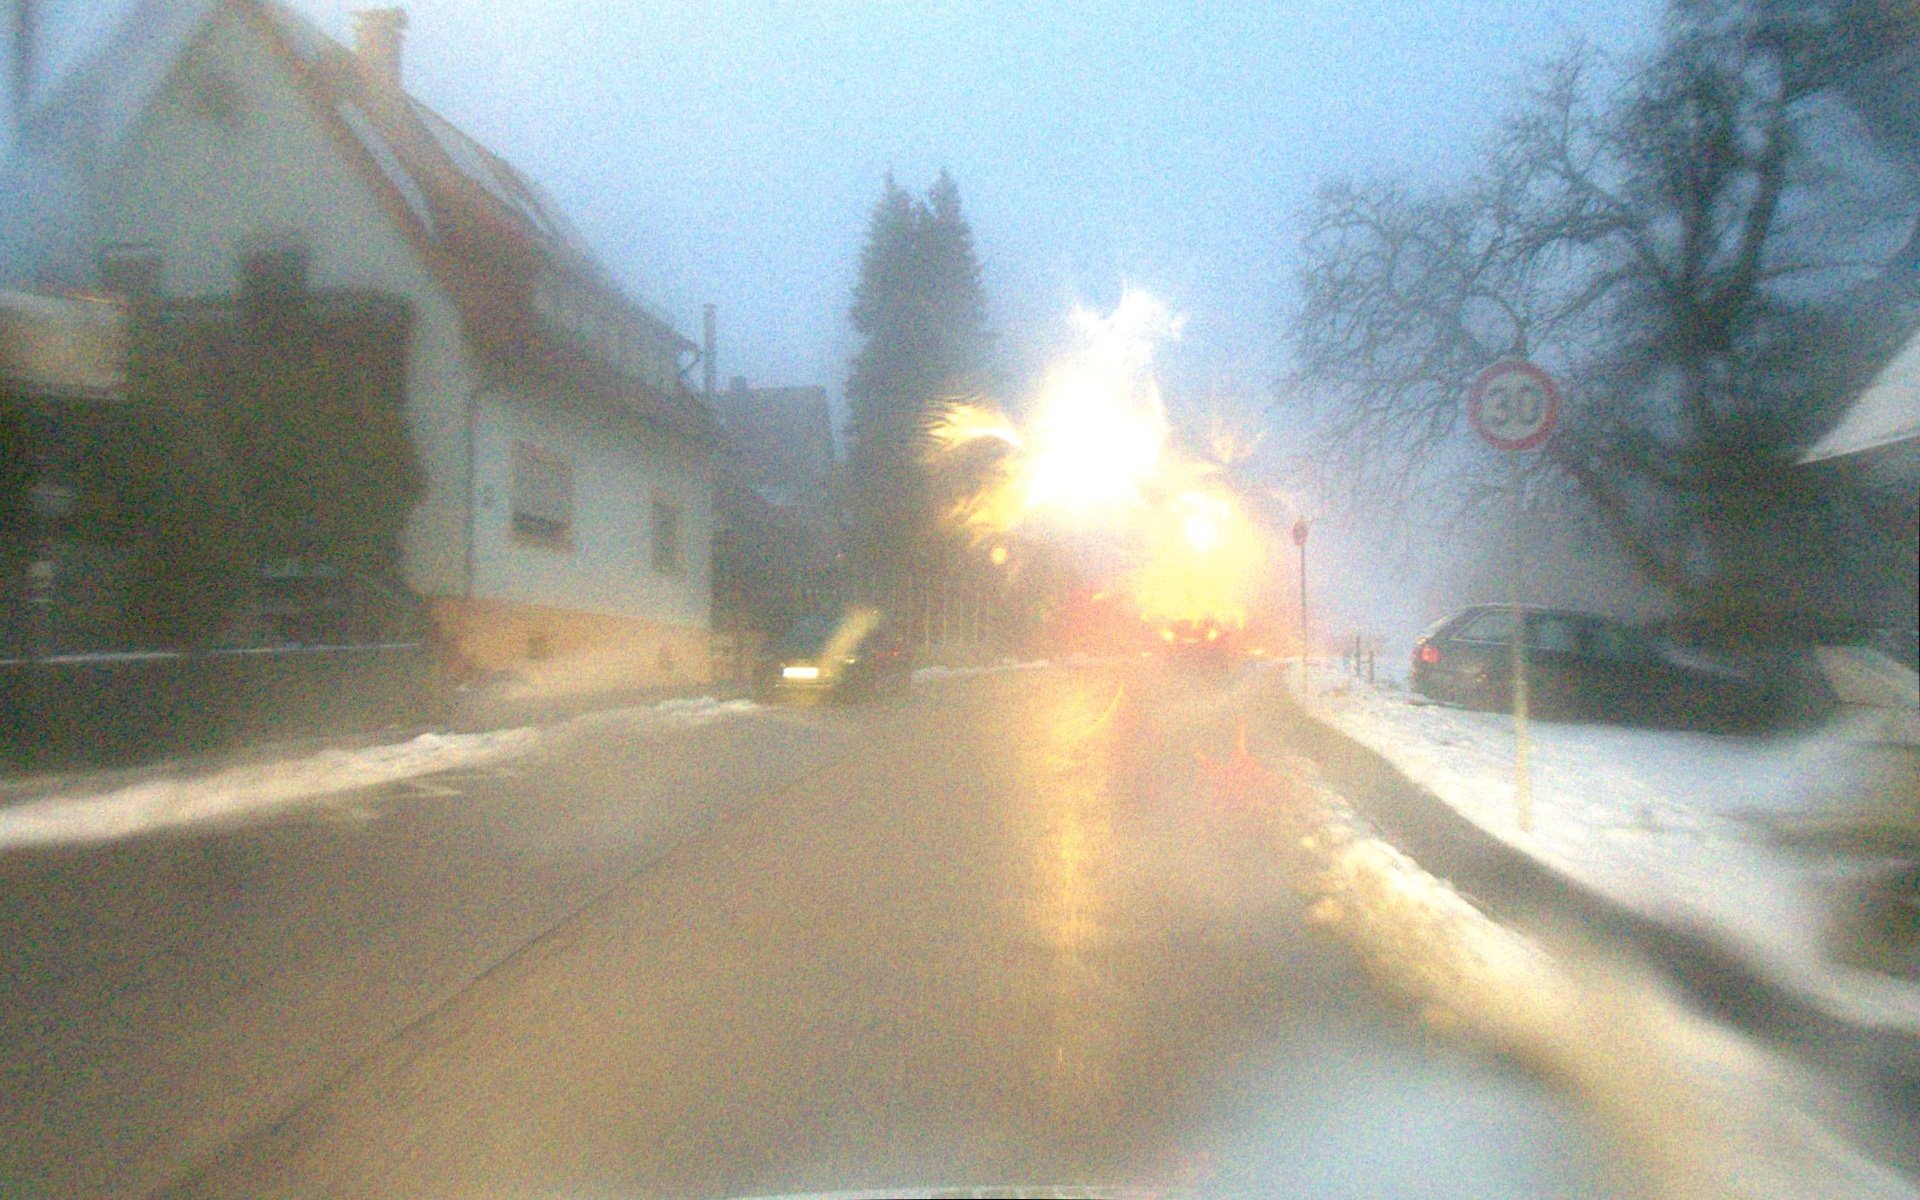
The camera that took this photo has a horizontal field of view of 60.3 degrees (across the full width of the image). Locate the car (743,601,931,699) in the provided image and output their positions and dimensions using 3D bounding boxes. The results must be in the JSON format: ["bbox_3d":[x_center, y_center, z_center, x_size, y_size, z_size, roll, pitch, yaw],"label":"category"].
[{"bbox_3d":[-1.927,0.784,27.827,1.836,1.451,5.396,1,0,10],"label":"car"}]

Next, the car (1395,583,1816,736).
[{"bbox_3d":[7.600,0.672,19.930,4.356,1.406,2.037,4,0,11],"label":"car"}]

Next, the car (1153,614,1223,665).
[{"bbox_3d":[6.744,1.167,48.731,1.951,1.445,4.003,0,-2,9],"label":"car"}]

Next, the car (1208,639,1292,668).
[{"bbox_3d":[18.056,3.352,102.917,4.787,1.511,2.123,-4,-4,22],"label":"car"}]

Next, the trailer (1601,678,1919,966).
[{"bbox_3d":[4.395,0.865,6.184,1.521,0.962,3.977,-2,0,-19],"label":"trailer"}]

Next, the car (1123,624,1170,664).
[{"bbox_3d":[8.950,2.150,79.755,1.952,1.594,4.998,-3,-4,4],"label":"car"}]
